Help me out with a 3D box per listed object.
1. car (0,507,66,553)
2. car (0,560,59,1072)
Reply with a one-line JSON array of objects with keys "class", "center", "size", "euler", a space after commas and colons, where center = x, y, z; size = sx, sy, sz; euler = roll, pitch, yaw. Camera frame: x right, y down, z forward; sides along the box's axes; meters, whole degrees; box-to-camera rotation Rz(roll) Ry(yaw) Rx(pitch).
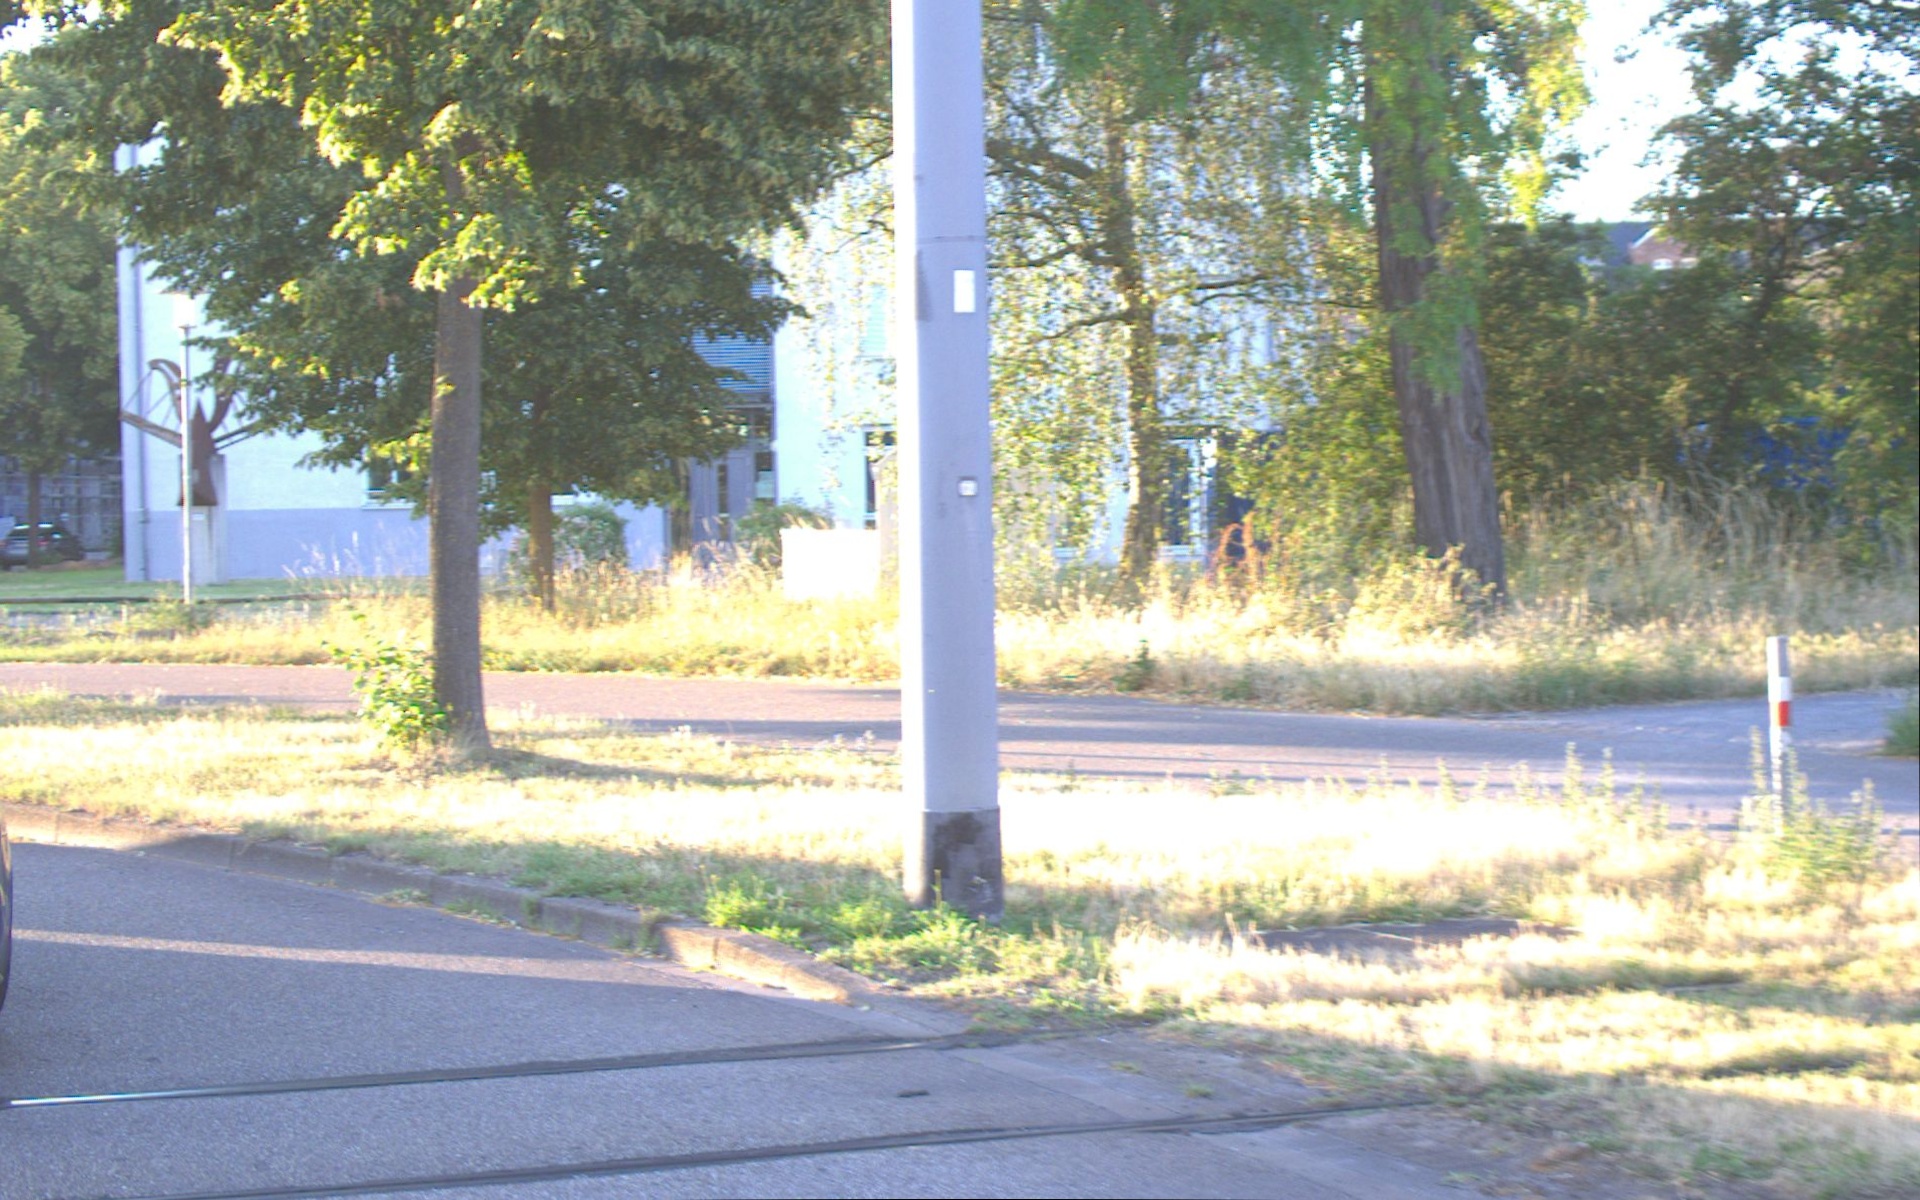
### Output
[{"class": "car", "center": [-30.255, -2.268, 110.875], "size": [1.876, 1.396, 3.917], "euler": [-1, 2, -1]}, {"class": "car", "center": [-4.332, 0.531, 10.729], "size": [1.951, 1.337, 4.671], "euler": [-1, 2, -27]}]
